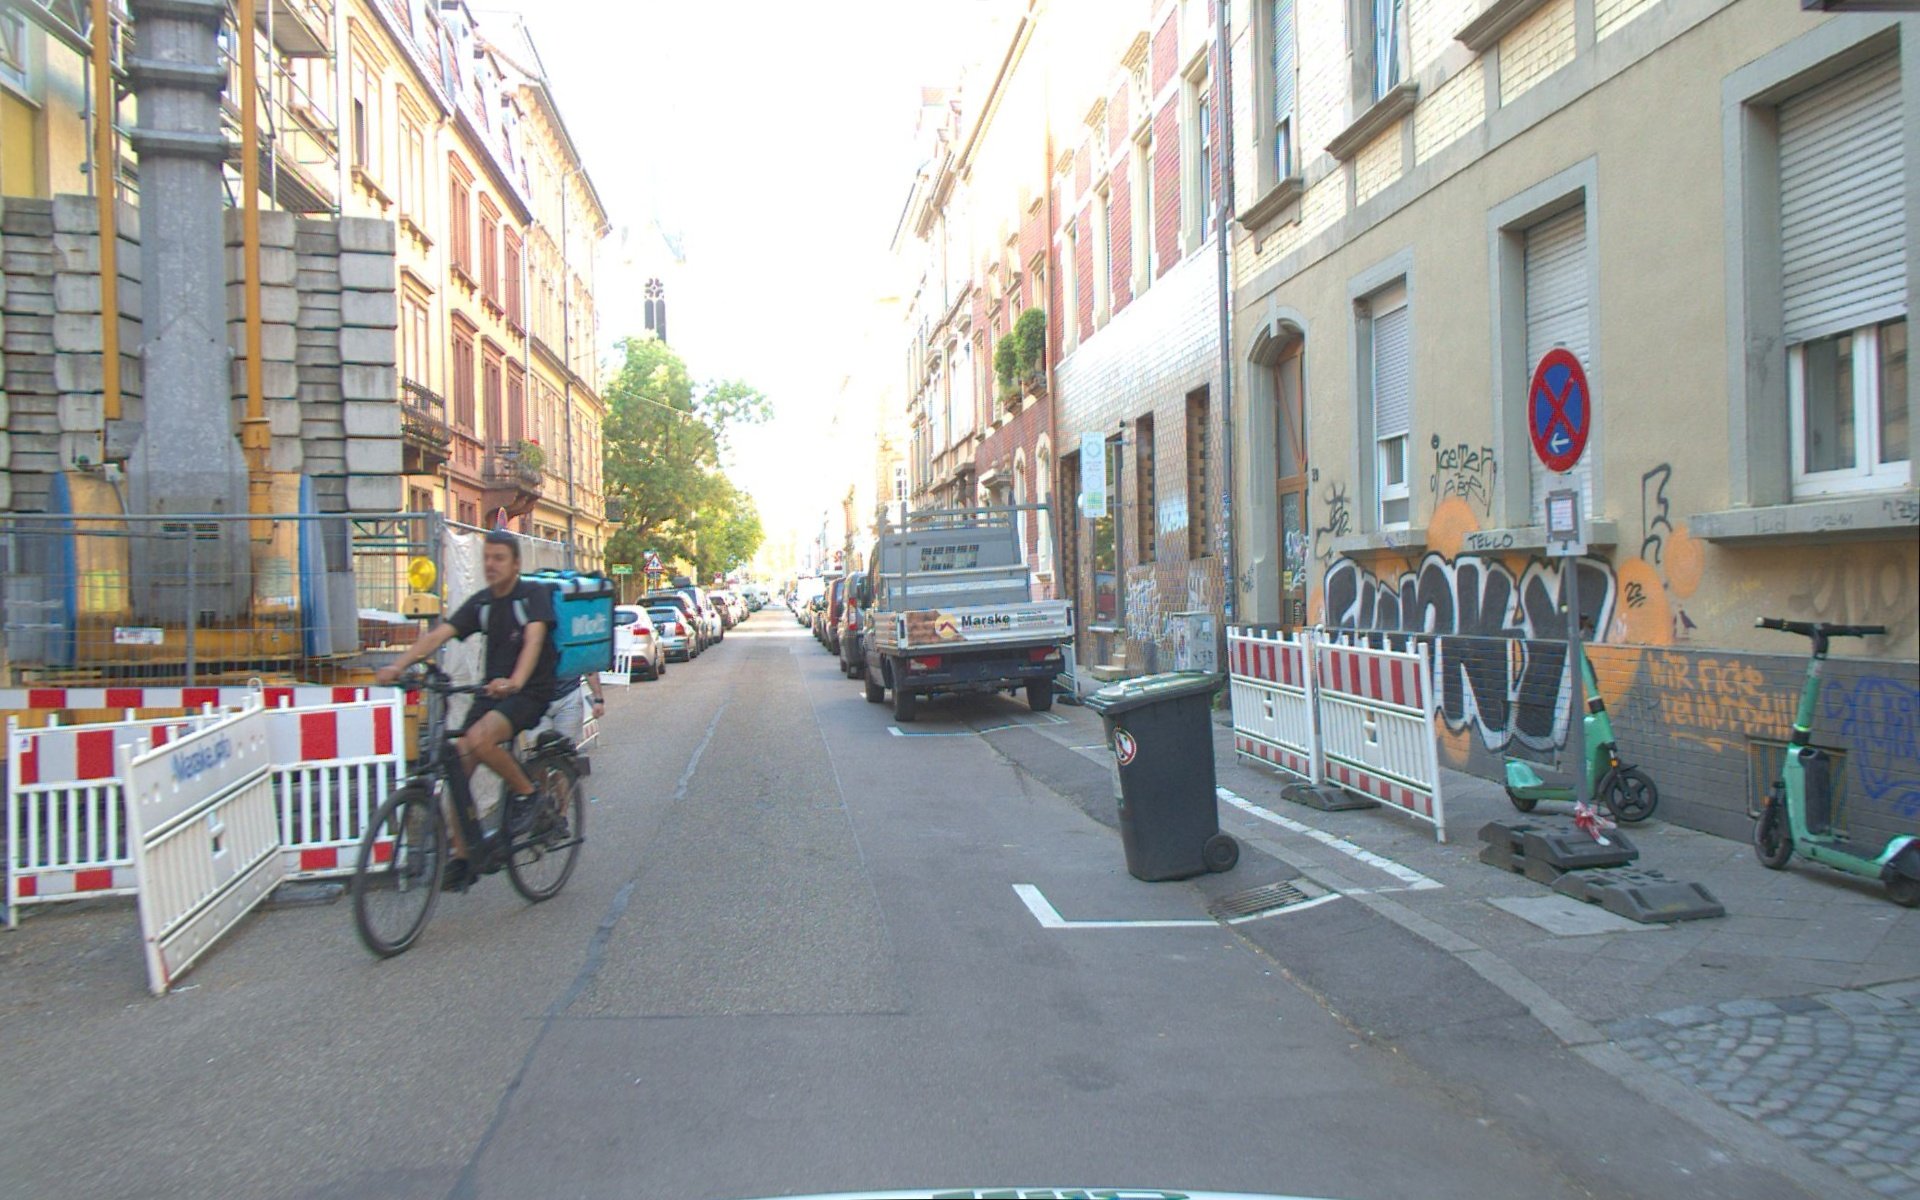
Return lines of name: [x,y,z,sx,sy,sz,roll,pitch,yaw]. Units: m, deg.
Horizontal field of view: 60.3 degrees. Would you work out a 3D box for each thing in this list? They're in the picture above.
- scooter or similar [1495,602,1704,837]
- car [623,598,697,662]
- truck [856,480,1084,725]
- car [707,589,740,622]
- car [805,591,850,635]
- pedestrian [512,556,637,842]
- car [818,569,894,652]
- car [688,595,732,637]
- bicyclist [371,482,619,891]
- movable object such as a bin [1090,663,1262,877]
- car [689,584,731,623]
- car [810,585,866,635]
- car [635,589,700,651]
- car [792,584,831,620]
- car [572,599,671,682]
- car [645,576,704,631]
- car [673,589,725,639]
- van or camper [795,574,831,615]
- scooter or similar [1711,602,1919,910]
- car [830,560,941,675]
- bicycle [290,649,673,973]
scooter or similar: [3.592,0.626,9.407,0.410,1.199,1.493,-4,0,-6]
car: [-7.482,0.714,41.452,1.644,1.470,3.862,-2,0,-8]
truck: [-0.035,0.008,21.237,2.149,2.652,5.225,-3,0,-7]
car: [-14.385,0.307,100.764,1.864,1.881,3.923,-3,0,-7]
car: [-6.578,0.612,81.722,1.956,2.049,3.993,-2,0,-7]
pedestrian: [-2.487,0.618,10.726,0.645,1.763,0.719,-2,0,-6]
car: [-2.807,0.266,44.035,1.644,2.066,3.862,-2,0,-8]
car: [-12.000,0.731,79.551,1.956,1.881,3.993,-2,0,-7]
bicyclist: [-2.154,0.387,7.740,0.715,1.792,0.836,-2,0,16]
movable object such as a bin: [1.170,0.908,9.073,0.780,1.074,0.659,-2,0,-6]
car: [-12.797,0.165,84.719,1.956,1.881,3.993,-3,0,-7]
car: [-4.270,0.339,57.422,1.644,1.598,3.862,-2,0,-8]
car: [-8.149,0.546,46.292,1.644,1.598,3.862,-2,0,-8]
car: [-8.465,0.094,93.887,1.956,1.881,3.993,-3,0,-7]
car: [-6.630,0.754,32.685,1.644,1.470,3.862,-2,0,-8]
car: [-8.862,0.099,51.520,1.644,1.598,3.862,-3,0,-8]
car: [-8.929,0.455,56.733,1.644,1.598,3.862,-2,0,-8]
van or camper: [-9.811,-0.374,110.135,1.958,2.552,4.192,-3,0,-10]
scooter or similar: [3.928,0.624,7.235,0.410,1.199,1.493,-4,0,-6]
car: [-1.487,0.318,31.626,1.644,1.997,4.101,-2,0,-8]
bicycle: [-2.144,0.889,7.759,0.709,1.207,2.044,-1,1,17]
